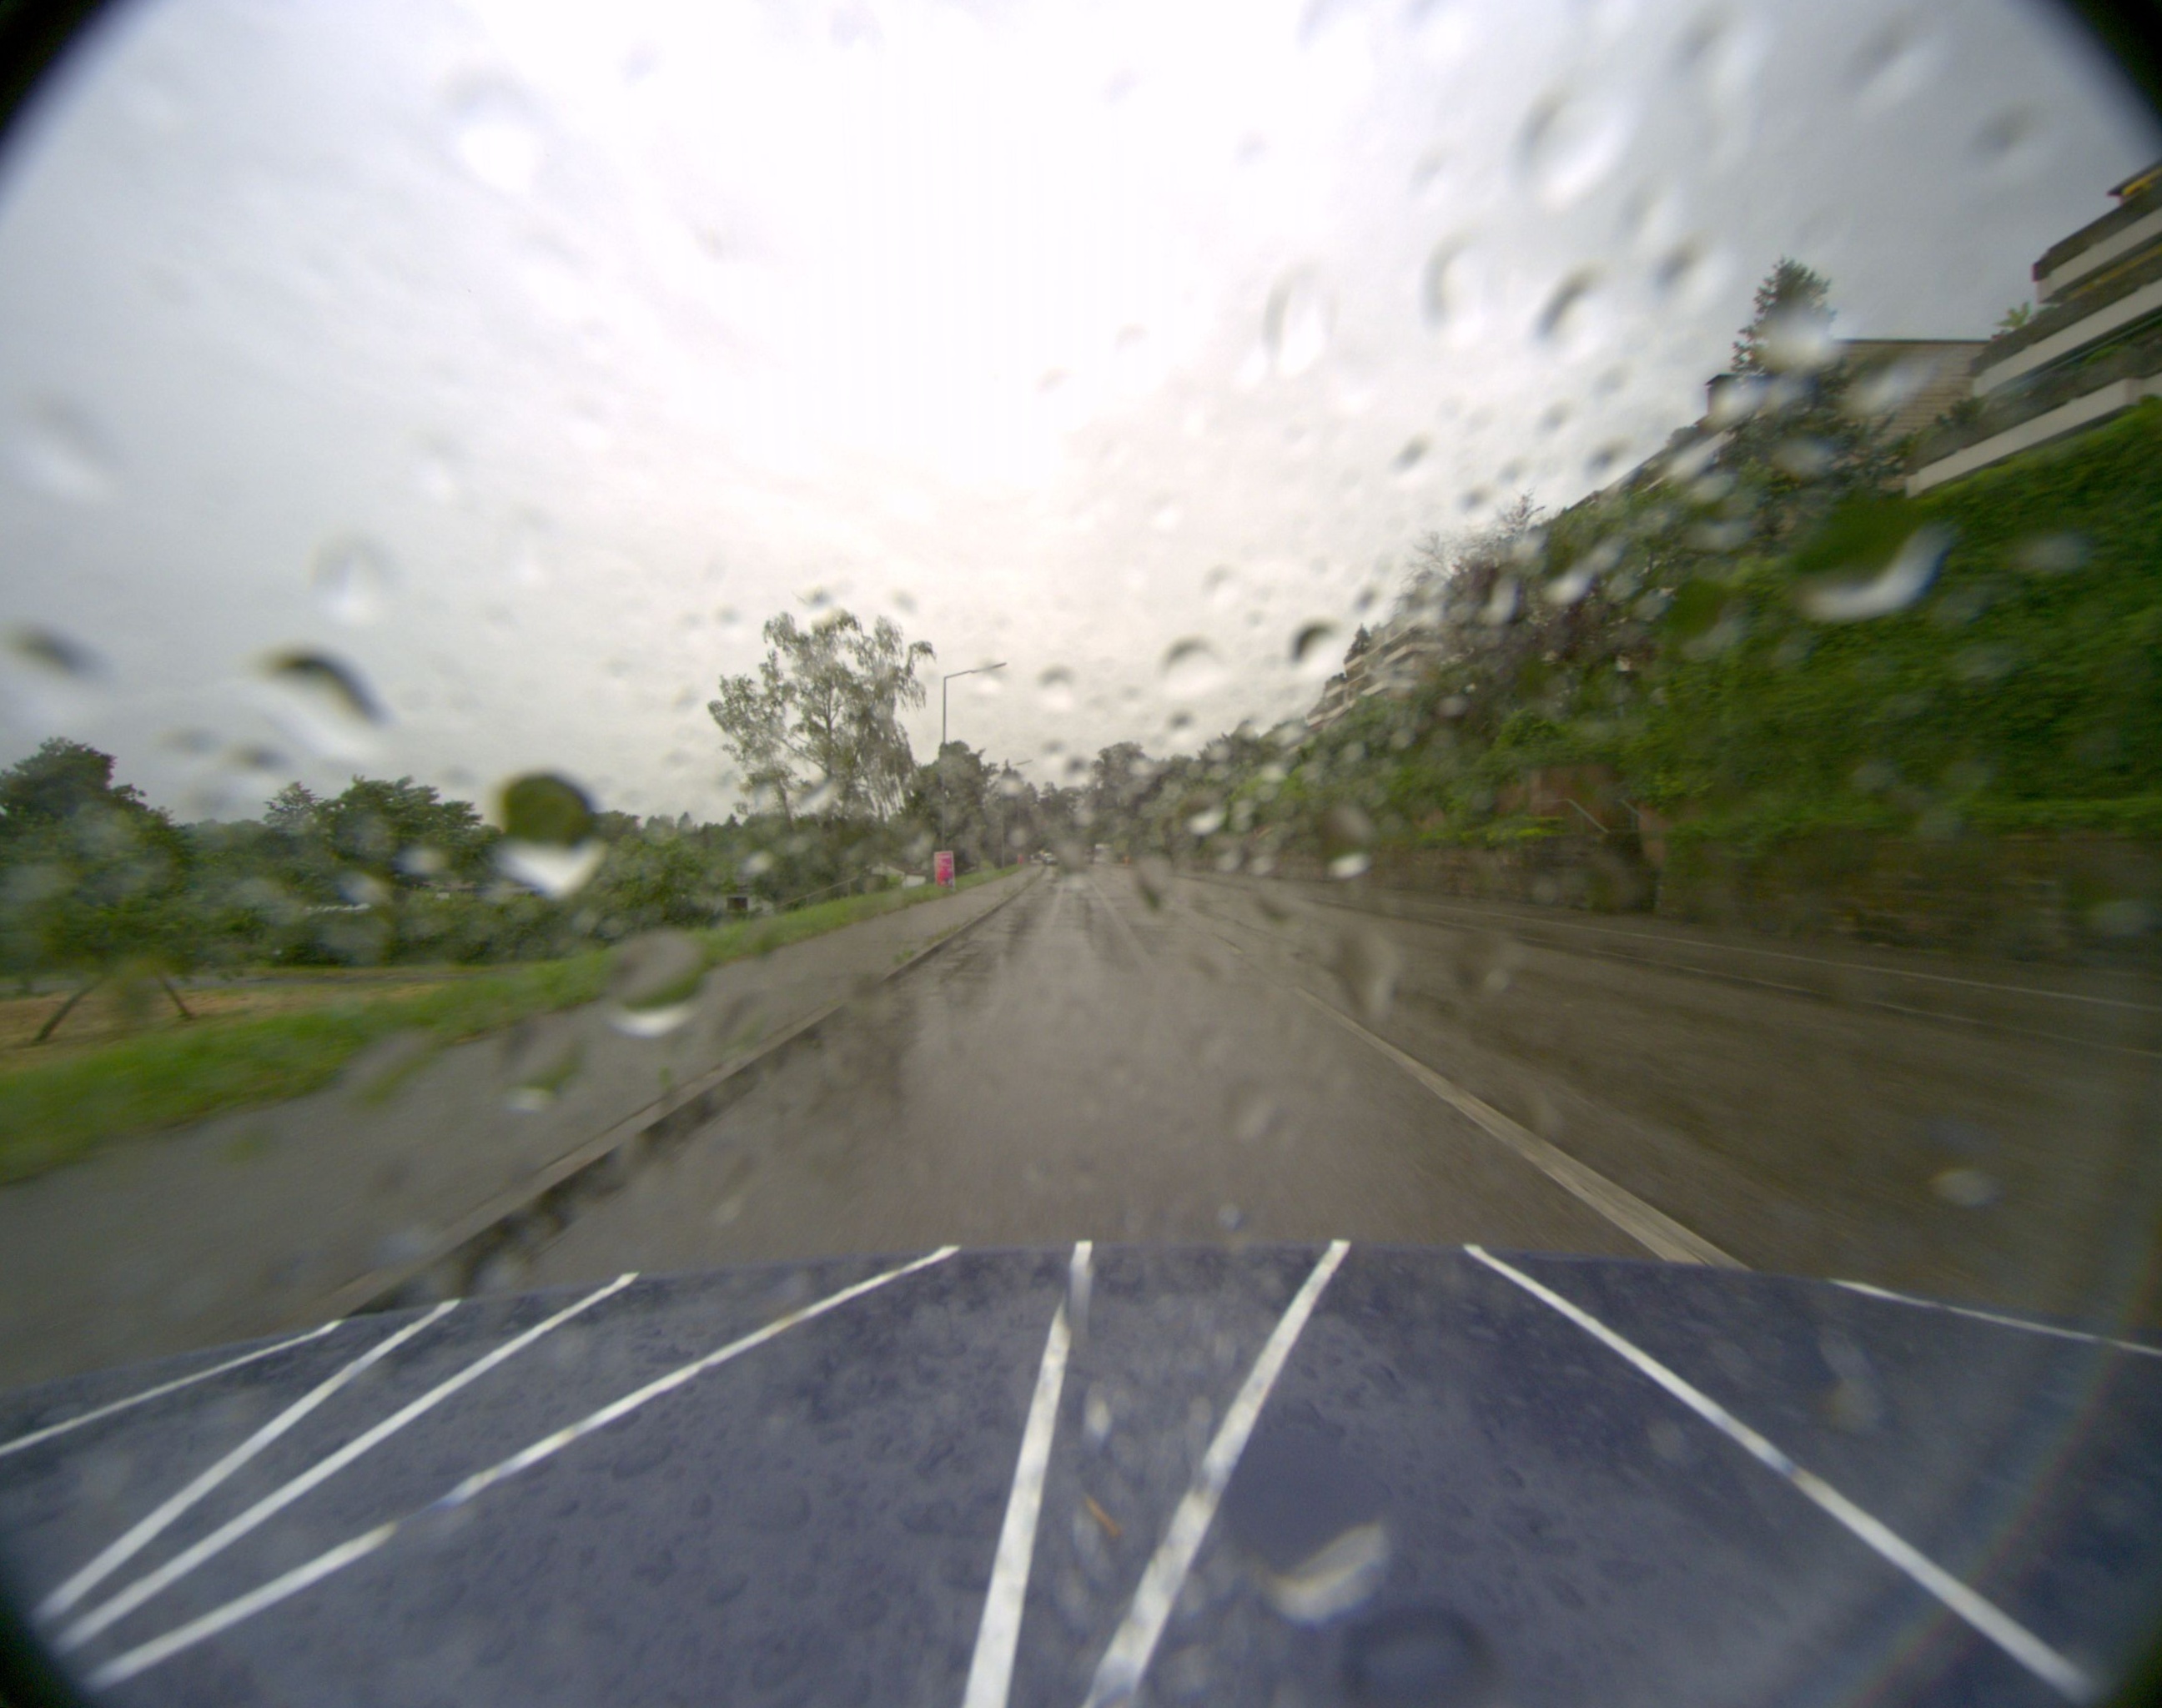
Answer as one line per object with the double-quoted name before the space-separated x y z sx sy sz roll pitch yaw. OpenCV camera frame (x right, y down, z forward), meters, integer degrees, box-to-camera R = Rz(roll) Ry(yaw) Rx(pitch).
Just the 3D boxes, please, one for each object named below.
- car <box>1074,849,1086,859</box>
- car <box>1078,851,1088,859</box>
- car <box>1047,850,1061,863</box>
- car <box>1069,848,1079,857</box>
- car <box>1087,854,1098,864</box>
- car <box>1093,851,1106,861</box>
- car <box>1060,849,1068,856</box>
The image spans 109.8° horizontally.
"car" -0.229 0.015 168.394 1.855 2.137 3.701 -2 0 -13
"car" 0.374 0.230 163.763 1.853 1.583 3.704 -2 0 -2
"car" -4.250 0.395 119.494 1.999 2.001 4.000 -1 0 -1
"car" -1.734 -0.423 185.571 1.855 2.137 3.701 -2 0 -13
"car" 1.765 0.745 118.052 1.597 1.433 3.703 1 0 -2
"car" 3.081 0.371 128.568 1.853 1.583 3.704 -2 0 -2
"car" -4.033 -0.315 178.030 1.853 1.583 3.704 -2 0 -2
